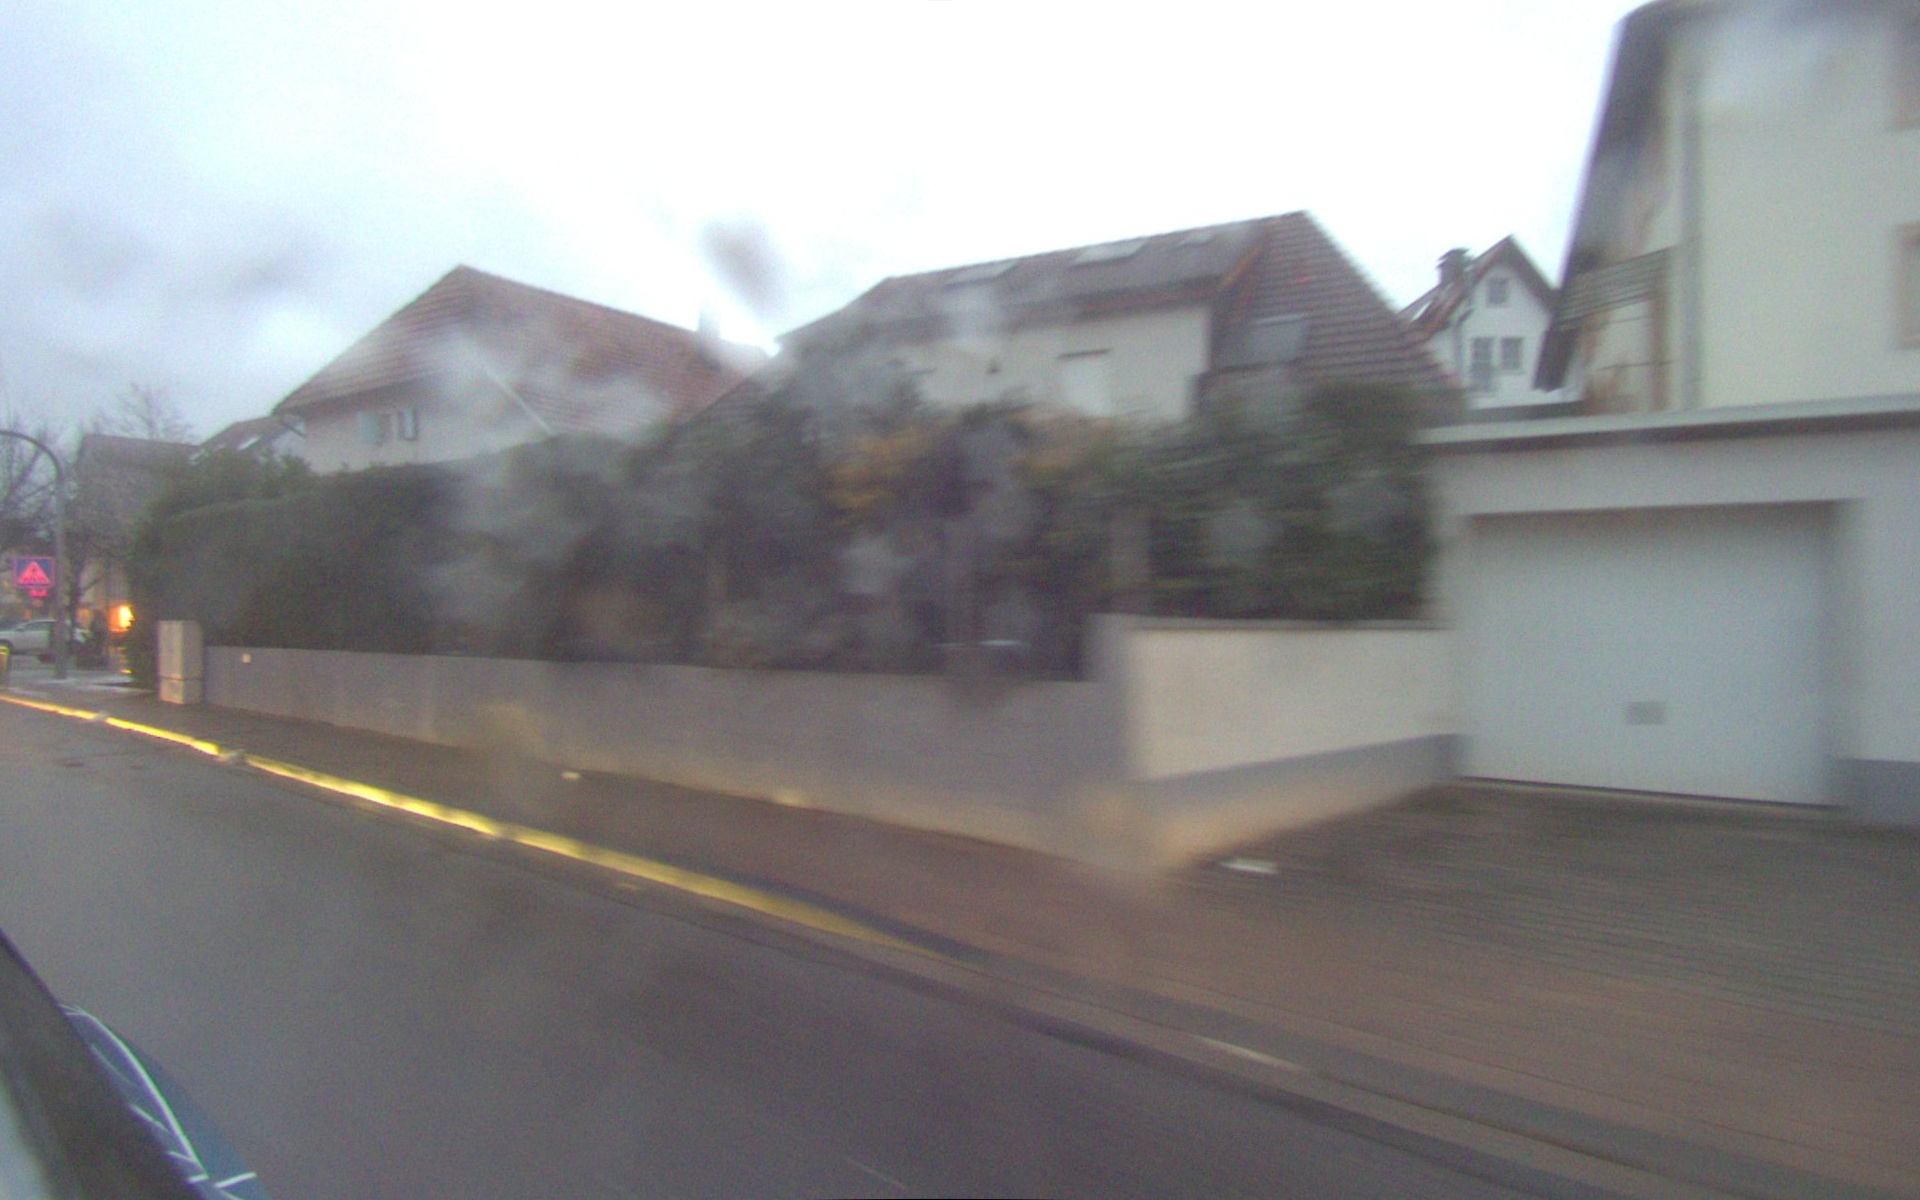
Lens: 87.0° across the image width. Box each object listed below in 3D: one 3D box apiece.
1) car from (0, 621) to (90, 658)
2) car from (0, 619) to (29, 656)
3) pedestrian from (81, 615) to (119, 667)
[{"bbox_3d":[-39.361,1.665,42.940,3.426,1.420,1.615,-1,0,-30],"label":"car"},{"bbox_3d":[-44.359,1.729,45.363,3.573,1.624,1.615,-1,0,-32],"label":"car"},{"bbox_3d":[-29.962,1.412,35.246,0.955,1.748,0.871,-2,-1,40],"label":"pedestrian"}]
